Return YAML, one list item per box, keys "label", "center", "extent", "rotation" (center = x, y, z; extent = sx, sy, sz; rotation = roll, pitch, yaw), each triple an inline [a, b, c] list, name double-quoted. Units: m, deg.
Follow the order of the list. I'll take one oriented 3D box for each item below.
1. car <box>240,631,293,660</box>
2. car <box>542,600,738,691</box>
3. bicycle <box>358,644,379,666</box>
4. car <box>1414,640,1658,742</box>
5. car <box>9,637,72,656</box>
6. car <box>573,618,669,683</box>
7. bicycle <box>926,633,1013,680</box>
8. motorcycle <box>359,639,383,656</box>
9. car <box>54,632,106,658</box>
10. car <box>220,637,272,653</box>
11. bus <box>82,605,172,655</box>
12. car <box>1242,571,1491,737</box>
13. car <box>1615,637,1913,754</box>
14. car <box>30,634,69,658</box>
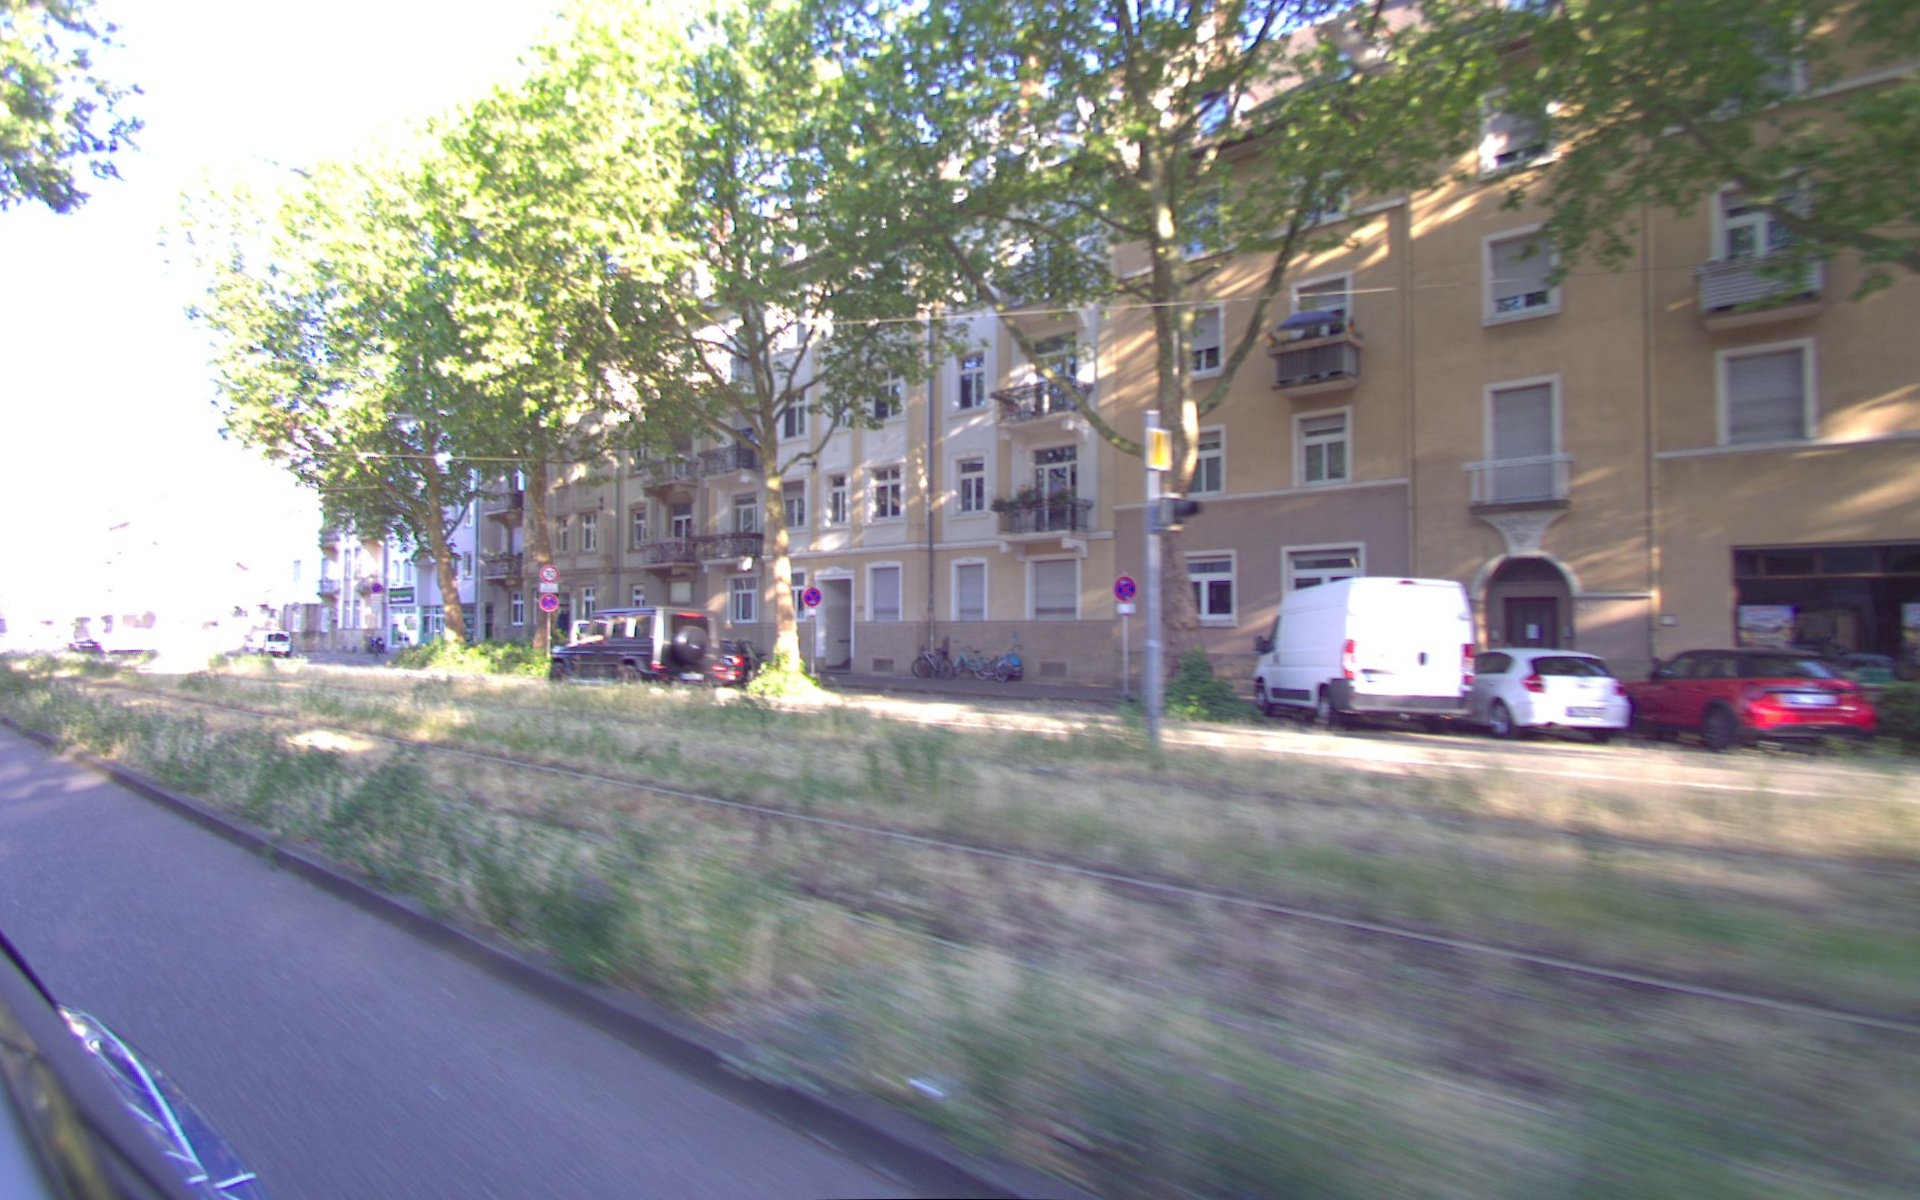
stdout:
- label: "car"
  center: [-46.489, 3.030, 67.786]
  extent: [4.653, 1.800, 1.883]
  rotation: [-1, -2, 43]
- label: "car"
  center: [-6.812, 0.895, 21.280]
  extent: [4.777, 1.706, 1.848]
  rotation: [-1, -2, 44]
- label: "bicycle"
  center: [-32.879, 3.041, 56.216]
  extent: [0.747, 1.040, 1.899]
  rotation: [-5, 2, -35]
- label: "car"
  center: [9.078, 1.376, 16.356]
  extent: [1.711, 1.410, 3.710]
  rotation: [0, -2, -2]
- label: "car"
  center: [-80.722, 4.037, 88.863]
  extent: [4.067, 1.586, 1.717]
  rotation: [2, -2, -44]
- label: "car"
  center: [-11.589, 1.690, 34.940]
  extent: [1.697, 2.082, 5.248]
  rotation: [0, -2, -2]
- label: "bicycle"
  center: [0.260, 1.743, 31.654]
  extent: [2.959, 1.402, 0.734]
  rotation: [-2, -3, 41]
- label: "motorcycle"
  center: [-37.994, 3.052, 65.261]
  extent: [2.418, 1.029, 0.522]
  rotation: [-2, 0, 40]
- label: "car"
  center: [-54.179, 2.763, 62.281]
  extent: [4.696, 1.497, 1.698]
  rotation: [-2, -5, 41]
- label: "car"
  center: [-70.618, 4.427, 100.137]
  extent: [3.995, 1.537, 1.783]
  rotation: [2, -2, -43]
- label: "bus"
  center: [-60.754, 2.097, 73.646]
  extent: [11.973, 3.400, 3.220]
  rotation: [-1, -2, 42]
- label: "car"
  center: [7.014, 0.916, 18.321]
  extent: [2.095, 2.548, 5.510]
  rotation: [0, -2, -2]
- label: "car"
  center: [11.381, 1.302, 14.702]
  extent: [1.716, 1.477, 3.699]
  rotation: [0, -3, 9]
- label: "car"
  center: [-69.622, 3.468, 77.375]
  extent: [4.001, 1.697, 1.908]
  rotation: [-1, -2, 44]
